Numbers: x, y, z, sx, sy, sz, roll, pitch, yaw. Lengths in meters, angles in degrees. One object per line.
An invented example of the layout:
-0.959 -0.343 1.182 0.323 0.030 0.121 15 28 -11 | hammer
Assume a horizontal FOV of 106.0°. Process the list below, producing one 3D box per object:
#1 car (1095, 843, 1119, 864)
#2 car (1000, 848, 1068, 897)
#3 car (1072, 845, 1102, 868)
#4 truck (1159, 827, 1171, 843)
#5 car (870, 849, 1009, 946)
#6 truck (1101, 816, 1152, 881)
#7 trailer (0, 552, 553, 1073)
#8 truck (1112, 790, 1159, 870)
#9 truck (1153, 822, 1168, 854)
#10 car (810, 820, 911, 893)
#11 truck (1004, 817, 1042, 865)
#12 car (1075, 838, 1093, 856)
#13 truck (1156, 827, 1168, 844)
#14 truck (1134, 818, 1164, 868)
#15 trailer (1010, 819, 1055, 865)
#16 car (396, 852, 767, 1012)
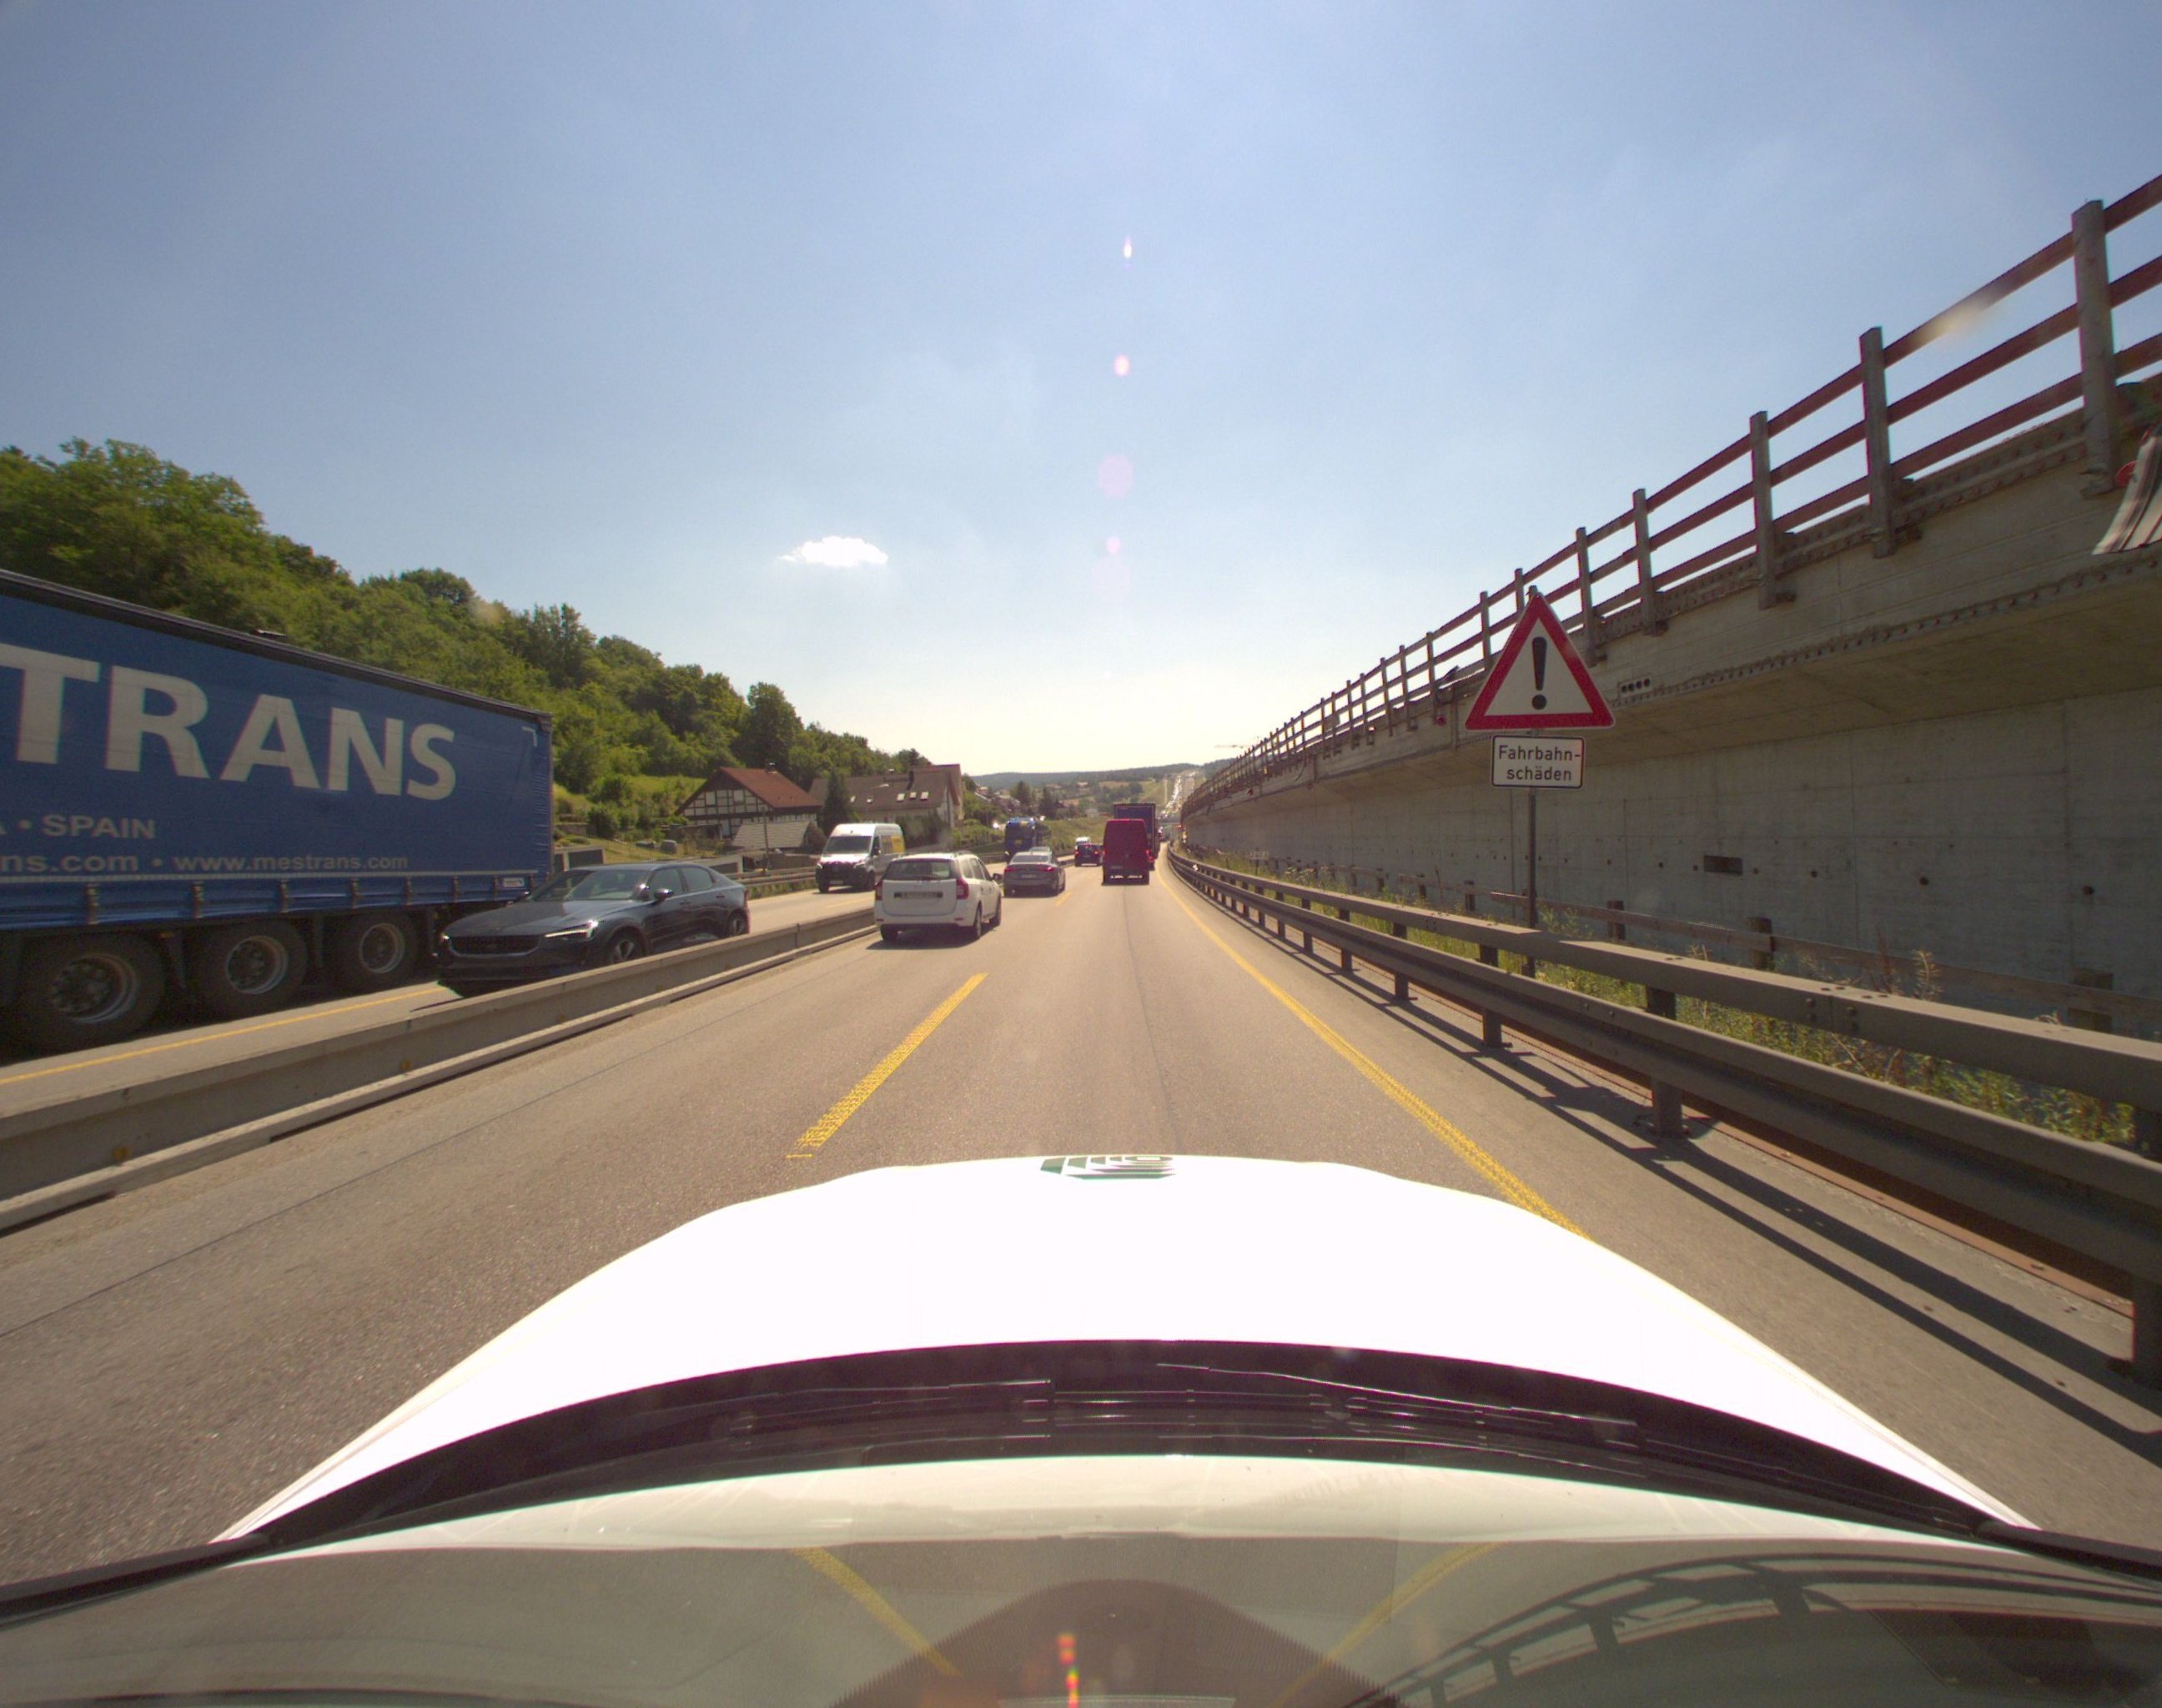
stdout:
2.299 -0.035 72.128 1.720 1.838 4.008 -1 -1 7 | car
-1.509 0.616 27.482 1.787 1.485 4.053 1 -1 3 | car
0.456 0.208 58.556 1.801 1.608 3.724 -1 -1 5 | car
25.346 -5.741 244.923 3.449 4.381 8.572 -1 -1 7 | truck
-2.489 0.721 15.321 1.645 1.483 4.268 -4 -1 2 | car
1.927 -0.203 34.891 1.985 2.578 4.002 -1 -1 3 | truck
-10.009 -0.300 6.674 3.122 4.079 11.827 -1 0 3 | trailer
3.691 -1.396 54.724 2.774 4.816 9.694 -1 -1 4 | truck
11.422 -2.313 116.343 1.983 4.381 4.007 -1 -1 7 | truck
-8.616 0.054 32.495 1.996 2.603 5.986 -1 0 4 | car
-4.987 -1.081 71.152 2.497 3.965 5.182 -1 -1 5 | truck
0.458 -1.025 122.562 1.982 2.507 5.527 -1 -1 7 | car
22.177 -5.069 223.597 3.053 4.381 8.572 -1 -1 7 | truck
6.979 -0.966 84.277 2.774 4.816 9.694 -1 -1 4 | truck
-4.463 -0.982 77.413 2.497 3.965 11.413 -1 -1 5 | trailer
-5.955 0.787 10.545 1.843 1.546 4.561 -1 0 2 | car
